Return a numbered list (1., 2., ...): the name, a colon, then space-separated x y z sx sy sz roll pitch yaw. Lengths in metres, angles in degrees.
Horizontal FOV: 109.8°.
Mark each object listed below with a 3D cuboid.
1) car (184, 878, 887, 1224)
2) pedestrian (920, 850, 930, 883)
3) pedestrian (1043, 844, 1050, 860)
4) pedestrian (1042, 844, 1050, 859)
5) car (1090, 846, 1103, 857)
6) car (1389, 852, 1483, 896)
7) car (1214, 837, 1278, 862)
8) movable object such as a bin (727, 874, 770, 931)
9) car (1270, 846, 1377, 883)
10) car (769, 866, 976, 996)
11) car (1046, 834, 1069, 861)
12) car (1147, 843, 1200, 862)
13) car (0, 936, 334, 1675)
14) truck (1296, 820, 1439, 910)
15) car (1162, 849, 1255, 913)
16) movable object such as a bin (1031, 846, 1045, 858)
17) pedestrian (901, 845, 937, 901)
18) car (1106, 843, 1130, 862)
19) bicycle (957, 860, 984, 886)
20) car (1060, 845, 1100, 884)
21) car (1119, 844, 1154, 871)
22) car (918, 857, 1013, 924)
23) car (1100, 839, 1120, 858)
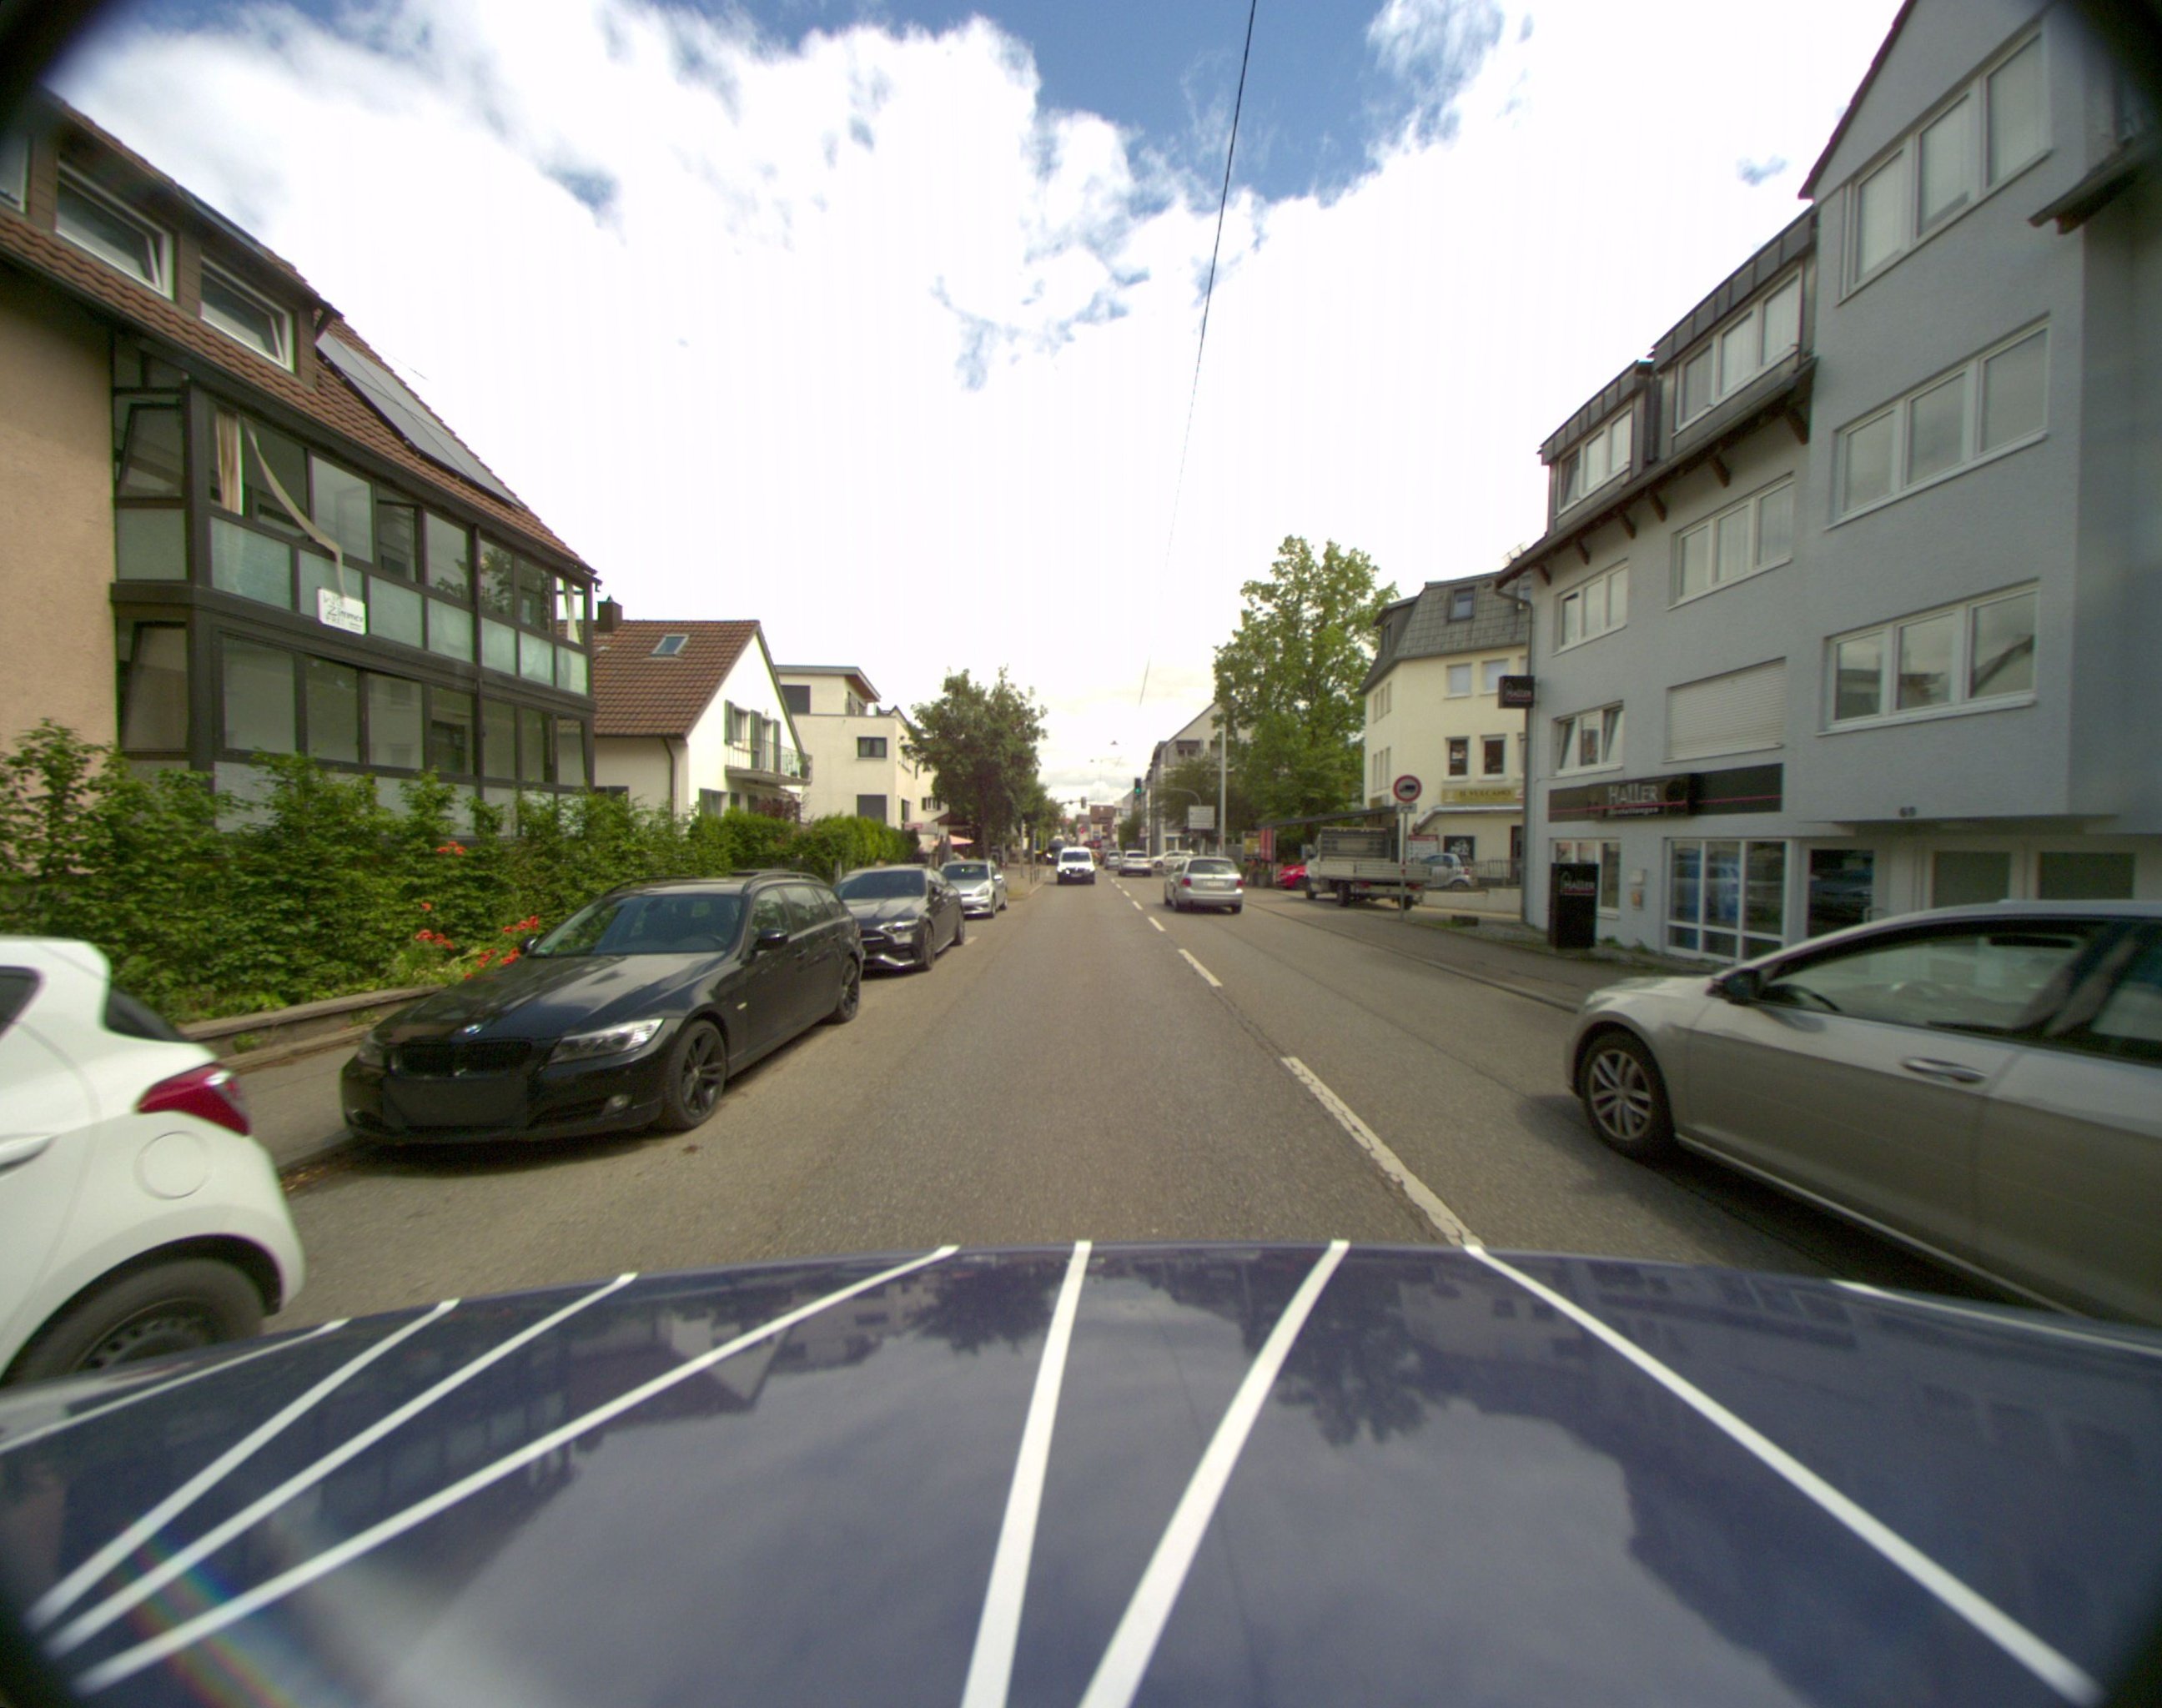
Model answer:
1. car: -3.150 0.992 5.853 1.998 1.415 4.588 0 1 2
2. pedestrian: -8.227 0.654 40.081 0.429 1.752 0.674 -1 2 -20
3. pedestrian: -3.869 -0.222 85.535 0.742 1.772 0.899 0 1 1
4. pedestrian: -4.000 -0.297 87.265 0.786 1.634 0.798 0 1 5
5. car: 2.229 -0.421 109.307 1.732 1.529 3.999 0 0 -1
6. car: 13.216 0.705 28.297 2.839 1.462 1.569 2 3 39
7. car: 13.192 -0.368 60.972 4.633 1.997 2.094 0 1 -3
8. movable object such as a bin: -6.559 0.940 14.993 0.524 1.074 0.604 0 2 6
9. car: 9.645 0.395 30.422 3.703 1.417 1.804 0 1 -3
10. car: -2.896 0.983 11.758 1.738 1.420 4.882 -3 0 1
11. car: -2.485 -0.742 81.497 2.153 2.755 6.249 0 1 1
12. car: 7.796 -0.133 64.240 4.222 1.505 1.822 0 0 0
13. car: -3.137 1.019 0.452 1.626 1.499 3.778 0 1 0
14. truck: 8.410 0.206 23.113 2.229 2.366 6.325 0 1 3
15. car: 3.372 0.657 20.927 1.733 1.494 4.375 2 1 0
16. movable object such as a bin: -4.829 -0.209 84.840 1.188 1.258 1.206 -1 1 -31
17. pedestrian: -5.006 0.585 23.554 0.882 1.703 0.842 0 2 2
18. car: 2.960 -0.146 61.078 1.621 1.478 3.811 0 1 -2
19. bicycle: -5.206 0.874 35.926 0.722 1.144 2.213 0 2 6
20. car: -0.084 0.455 37.632 1.871 1.805 5.005 0 1 -1
21. car: 3.395 0.181 47.253 1.810 1.562 4.158 2 1 0
22. car: -2.907 0.860 20.200 1.705 1.472 4.872 -1 1 1
23. car: 3.070 -0.610 81.230 1.882 1.902 4.750 0 1 -1
